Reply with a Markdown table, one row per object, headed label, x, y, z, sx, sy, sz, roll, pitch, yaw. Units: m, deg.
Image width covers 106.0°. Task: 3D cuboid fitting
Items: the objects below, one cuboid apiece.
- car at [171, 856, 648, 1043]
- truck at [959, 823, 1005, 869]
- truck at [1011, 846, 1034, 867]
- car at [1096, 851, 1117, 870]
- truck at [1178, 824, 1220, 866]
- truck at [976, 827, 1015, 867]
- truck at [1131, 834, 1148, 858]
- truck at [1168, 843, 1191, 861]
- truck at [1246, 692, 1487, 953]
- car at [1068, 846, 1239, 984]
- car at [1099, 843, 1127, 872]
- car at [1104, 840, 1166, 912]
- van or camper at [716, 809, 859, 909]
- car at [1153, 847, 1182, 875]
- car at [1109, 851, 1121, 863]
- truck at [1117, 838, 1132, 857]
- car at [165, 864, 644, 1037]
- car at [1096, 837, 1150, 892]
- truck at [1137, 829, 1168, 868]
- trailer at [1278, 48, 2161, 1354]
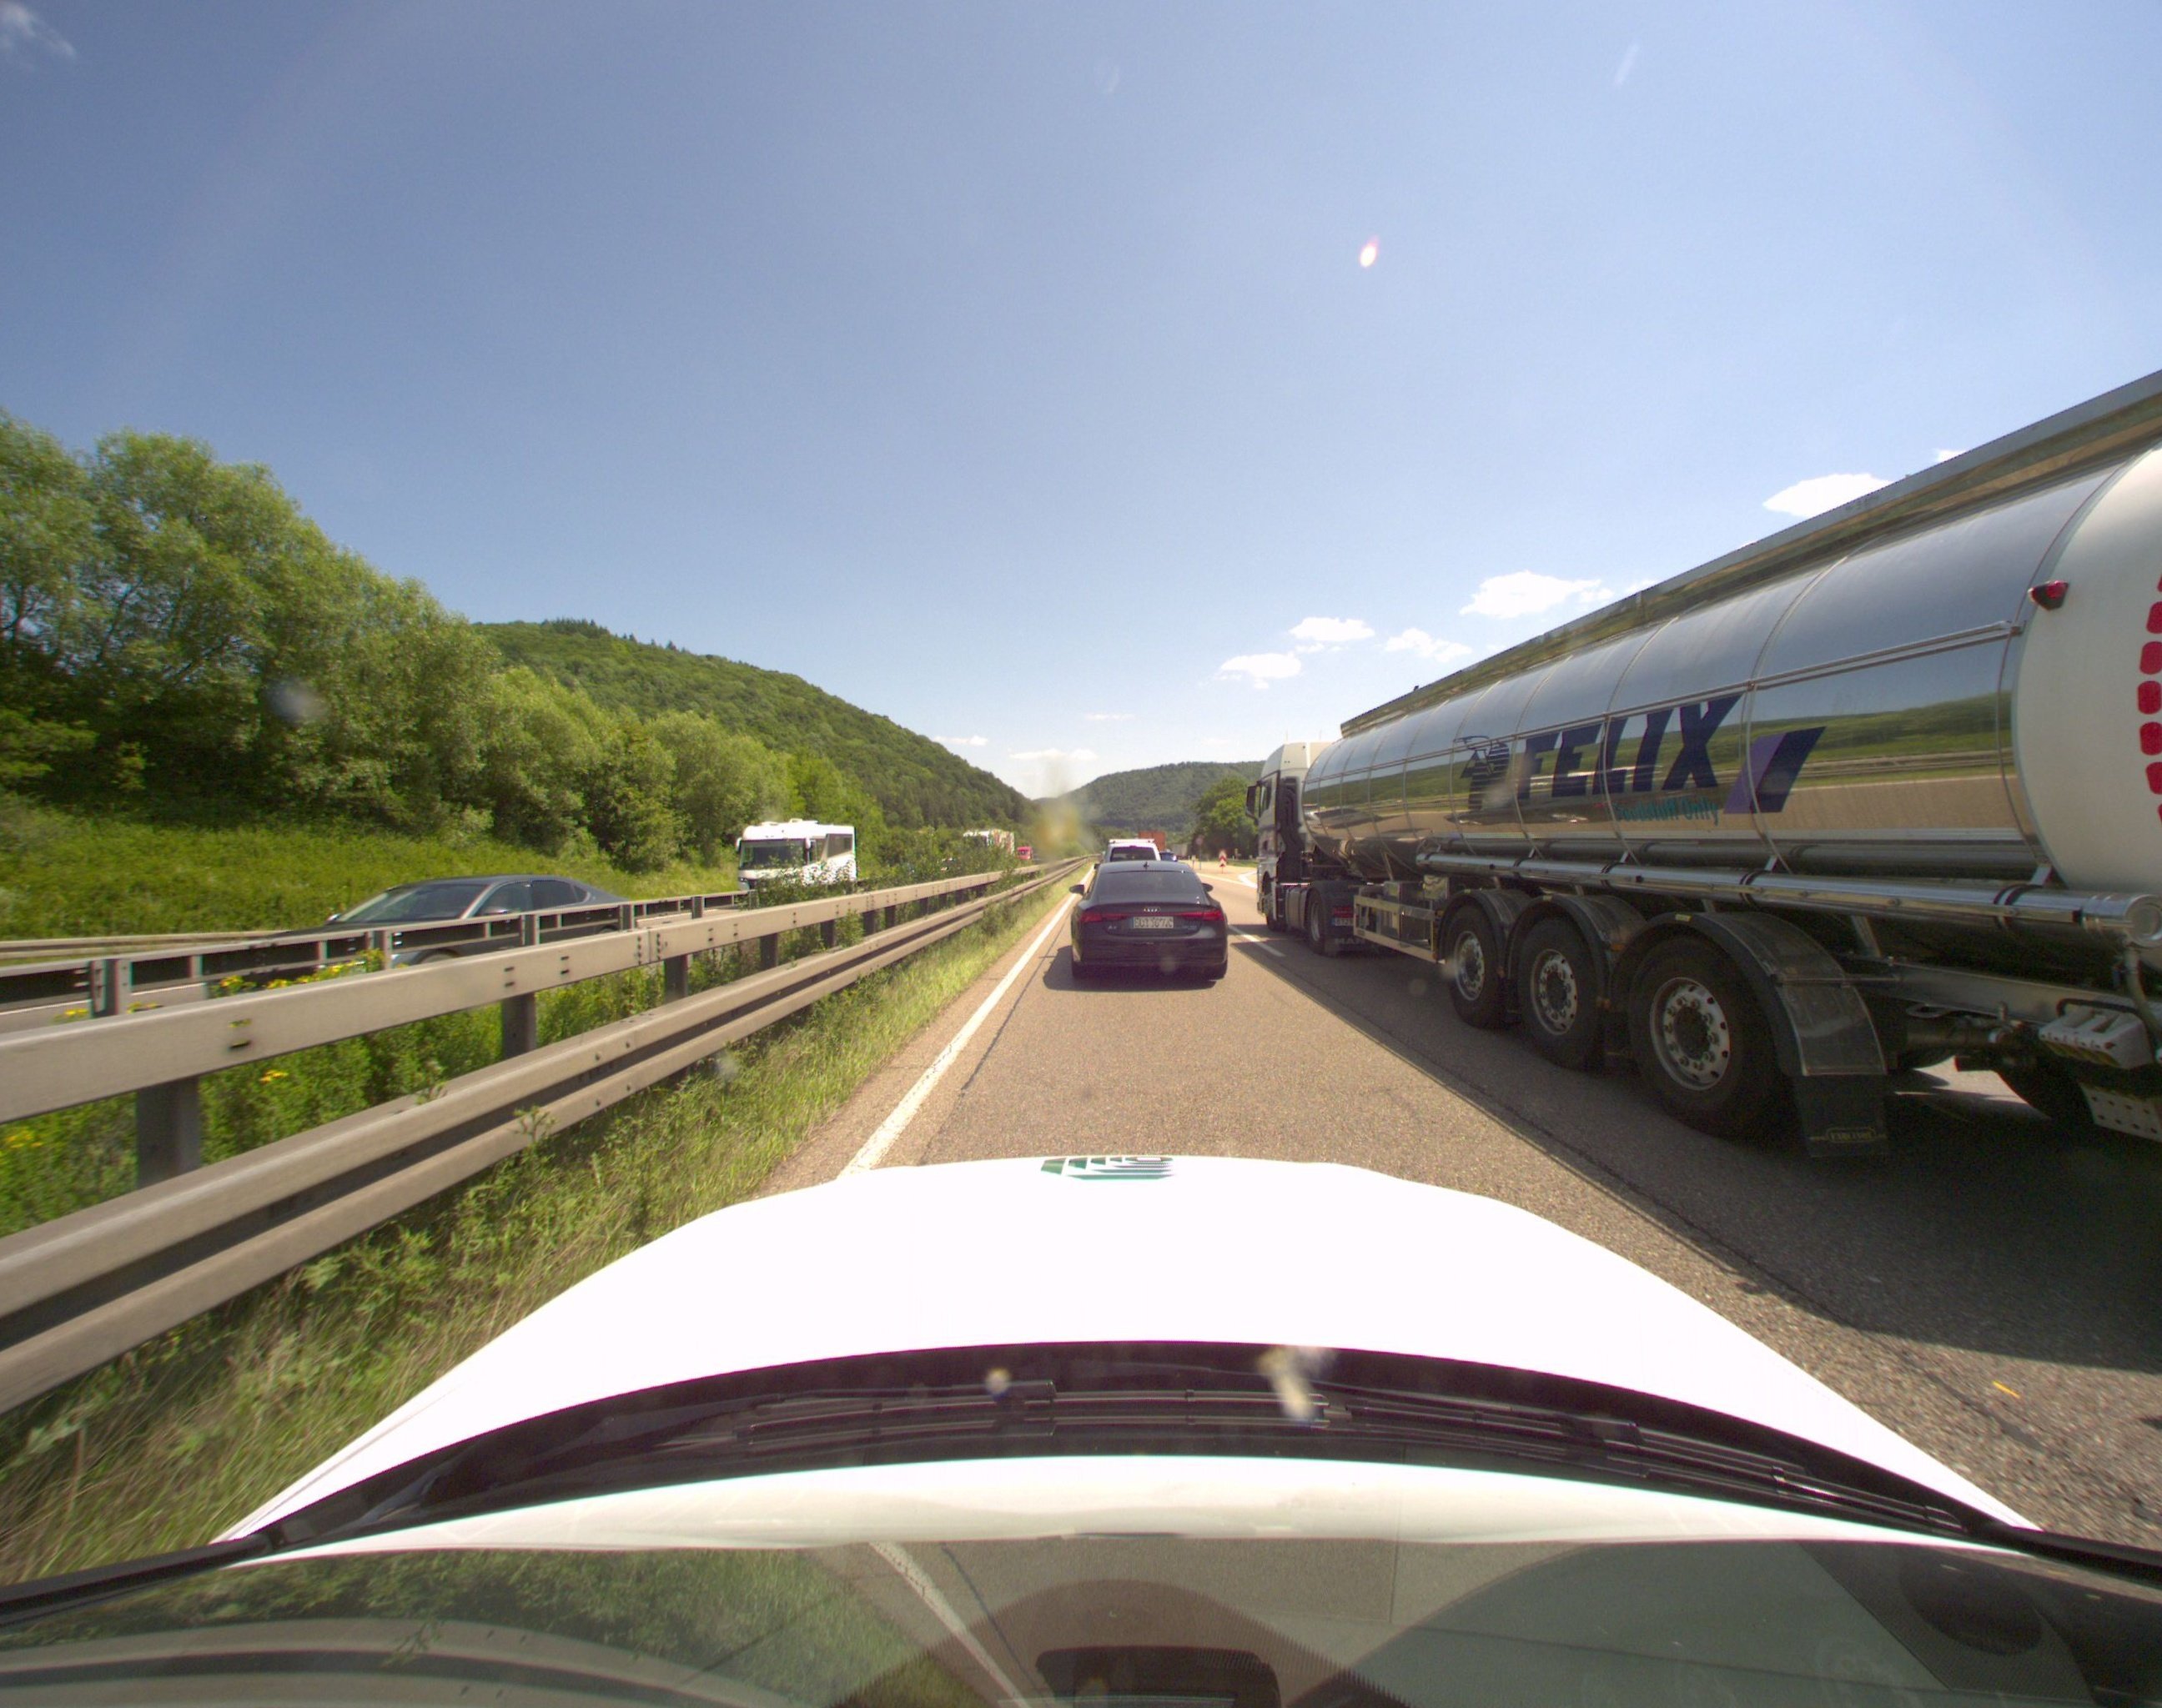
| label | x | y | z | sx | sy | sz | roll | pitch | yaw |
| --- | --- | --- | --- | --- | --- | --- | --- | --- | --- |
| car | -7.320 | 0.874 | 9.660 | 1.768 | 1.651 | 4.494 | -1 | 0 | 2 |
| truck | -9.195 | -0.679 | 76.751 | 2.859 | 4.006 | 10.174 | -1 | 0 | 1 |
| truck | -7.786 | 0.298 | 109.345 | 2.287 | 2.588 | 7.972 | -1 | 0 | 2 |
| car | 2.328 | 0.605 | 73.937 | 1.705 | 1.618 | 4.003 | -2 | 0 | 3 |
| truck | 12.057 | -0.863 | 84.353 | 2.806 | 4.003 | 14.965 | -1 | 0 | 3 |
| truck | -8.936 | -0.706 | 86.335 | 2.859 | 3.980 | 9.034 | -1 | 0 | 1 |
| truck | 8.617 | -1.134 | 120.336 | 1.986 | 3.447 | 11.817 | -1 | 0 | 2 |
| truck | 24.568 | -0.538 | 202.611 | 3.766 | 4.414 | 15.011 | -2 | 0 | 14 |
| truck | 4.679 | -0.467 | 14.456 | 2.502 | 3.758 | 5.247 | -1 | 0 | 1 |
| car | 0.764 | 0.661 | 10.961 | 1.844 | 1.488 | 4.081 | -1 | 0 | -1 |
| car | 2.382 | 0.265 | 60.714 | 1.986 | 2.013 | 4.001 | -2 | 0 | 1 |
| car | 1.440 | 0.559 | 22.892 | 1.570 | 1.833 | 4.002 | -1 | 0 | 2 |
| van or camper | -11.034 | 0.158 | 31.568 | 2.581 | 3.335 | 7.649 | -2 | 0 | 1 |
| car | 6.534 | 0.513 | 61.805 | 1.985 | 2.002 | 4.003 | -2 | 0 | 3 |
| car | 5.000 | 0.397 | 118.415 | 1.705 | 1.618 | 4.003 | -2 | 0 | 3 |
| truck | 8.182 | -1.286 | 155.433 | 2.618 | 3.440 | 11.427 | -2 | 0 | 2 |
| car | -7.338 | 0.905 | 9.637 | 1.791 | 1.464 | 4.537 | -1 | 0 | 1 |
| car | 1.609 | 0.376 | 32.106 | 1.986 | 2.013 | 4.002 | -1 | 0 | 2 |
| truck | 7.770 | -0.588 | 90.316 | 2.806 | 4.003 | 14.965 | -1 | 0 | 3 |
| trailer | 4.490 | -0.456 | 7.874 | 2.529 | 3.735 | 11.894 | -1 | 0 | 1 |
